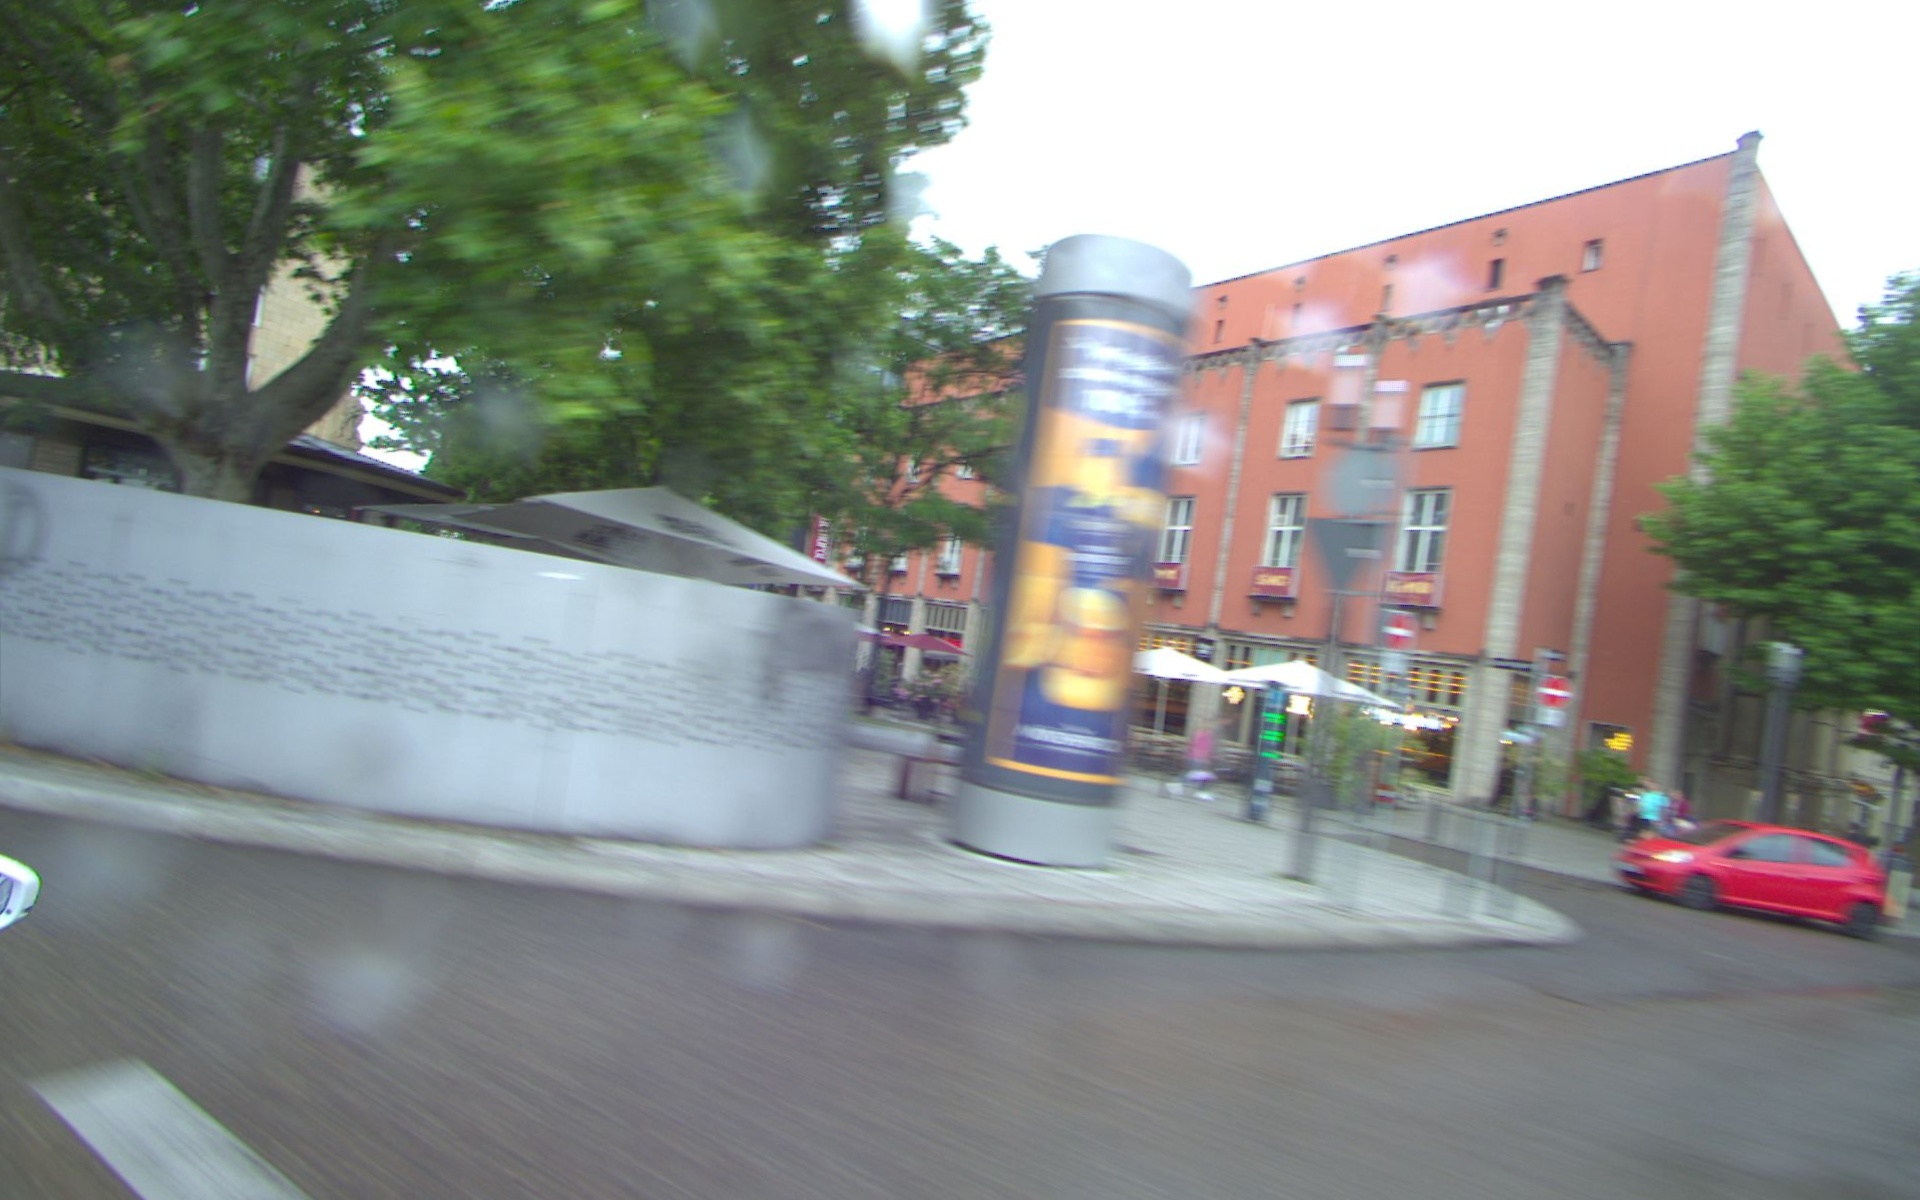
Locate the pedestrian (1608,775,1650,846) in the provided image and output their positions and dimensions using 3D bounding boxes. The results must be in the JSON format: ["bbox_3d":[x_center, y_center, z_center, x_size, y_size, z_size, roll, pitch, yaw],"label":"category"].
[{"bbox_3d":[16.667,5.239,25.042,0.602,1.613,0.751,6,-4,44],"label":"pedestrian"}]

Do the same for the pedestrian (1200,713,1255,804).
[{"bbox_3d":[5.743,3.392,21.567,0.736,1.798,0.591,6,-4,40],"label":"pedestrian"}]

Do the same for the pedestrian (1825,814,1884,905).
[{"bbox_3d":[20.014,5.783,22.526,0.796,1.827,0.609,6,-4,37],"label":"pedestrian"}]

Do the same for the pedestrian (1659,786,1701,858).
[{"bbox_3d":[17.534,5.394,24.488,0.602,1.613,0.751,6,-4,44],"label":"pedestrian"}]

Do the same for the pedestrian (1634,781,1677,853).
[{"bbox_3d":[16.534,5.149,23.908,0.602,1.576,0.751,6,-4,44],"label":"pedestrian"}]

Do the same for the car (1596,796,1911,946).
[{"bbox_3d":[12.421,4.212,15.949,3.462,1.430,1.618,9,-4,9],"label":"car"}]

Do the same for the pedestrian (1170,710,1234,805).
[{"bbox_3d":[5.005,3.251,20.817,0.861,1.798,0.692,6,-4,40],"label":"pedestrian"}]

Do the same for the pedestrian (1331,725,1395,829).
[{"bbox_3d":[8.278,3.626,20.672,0.620,1.953,0.782,10,-3,-30],"label":"pedestrian"}]
